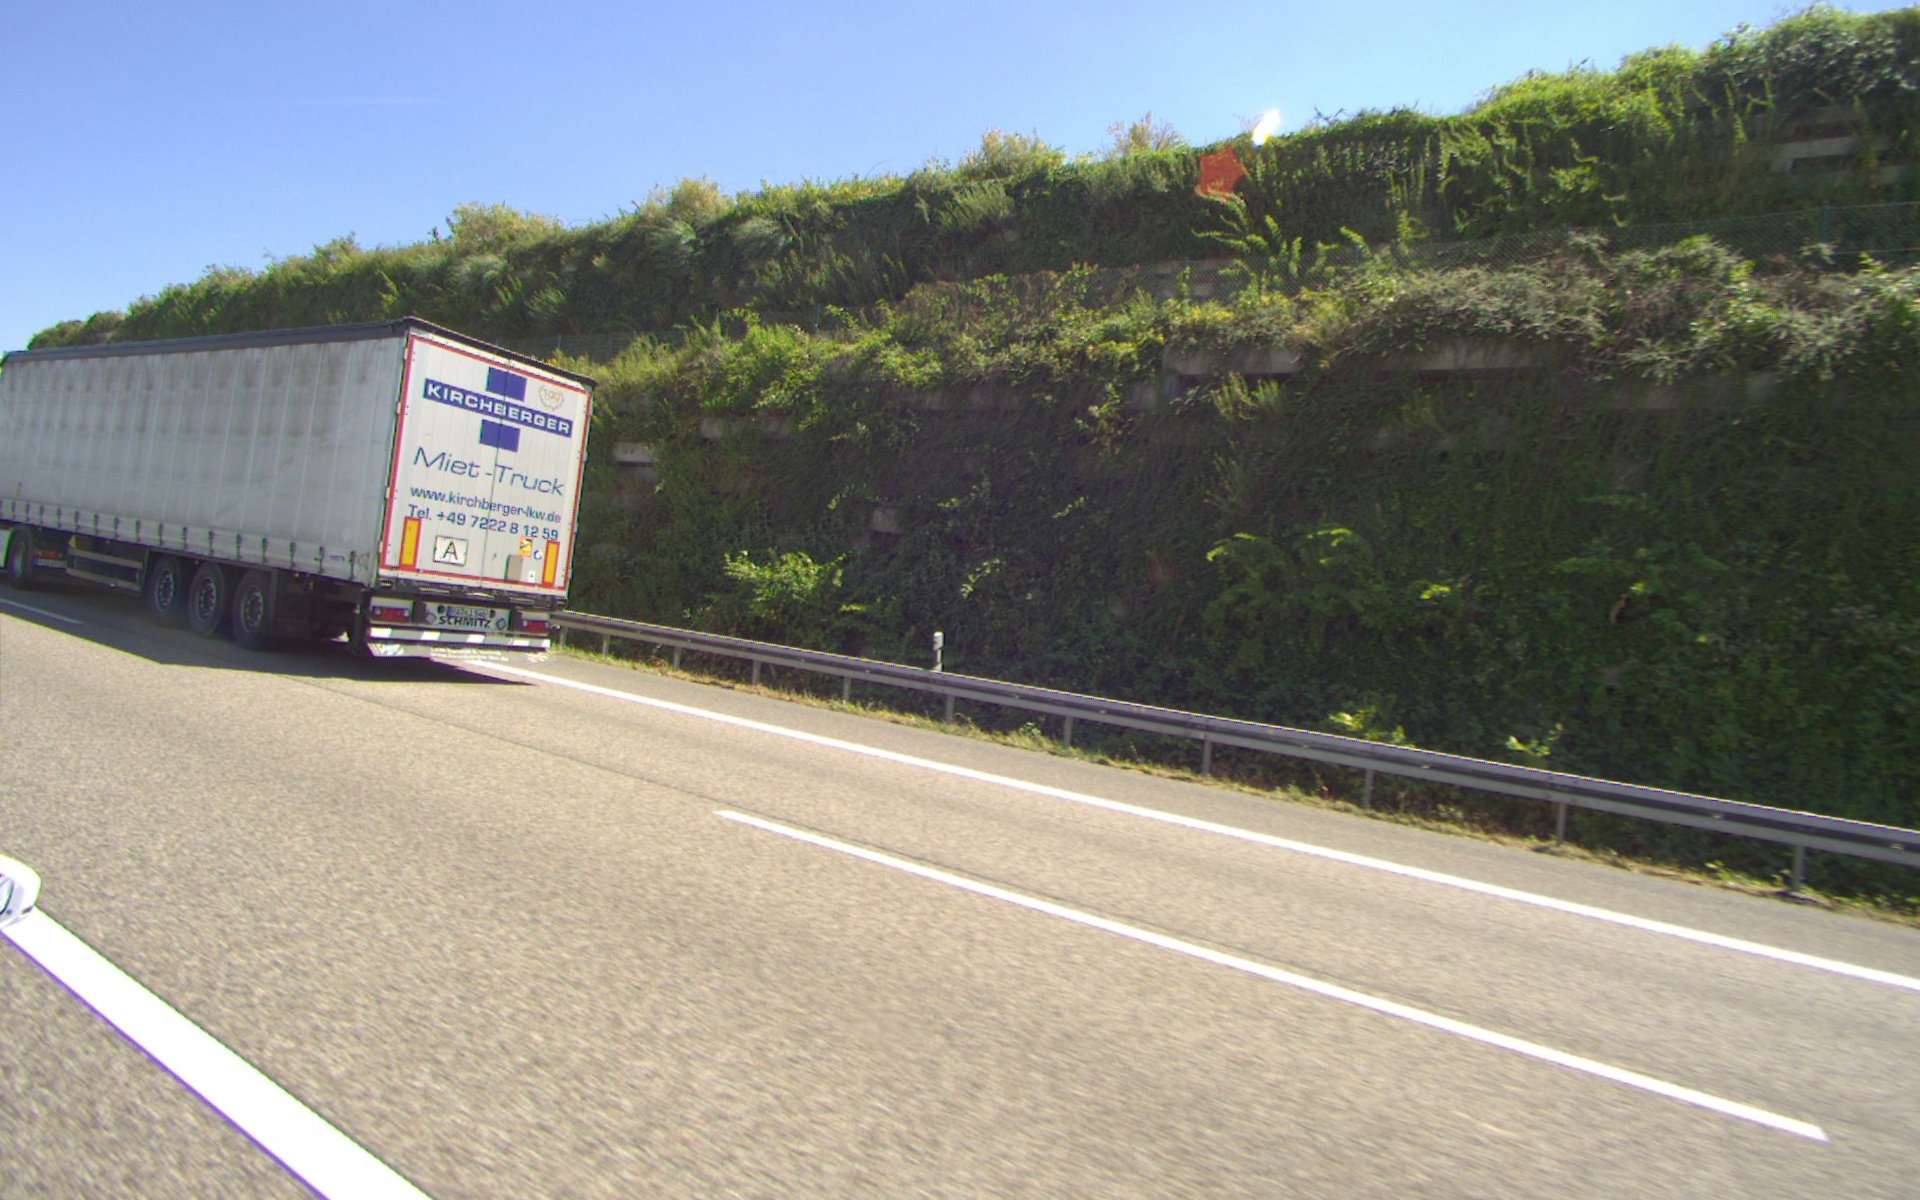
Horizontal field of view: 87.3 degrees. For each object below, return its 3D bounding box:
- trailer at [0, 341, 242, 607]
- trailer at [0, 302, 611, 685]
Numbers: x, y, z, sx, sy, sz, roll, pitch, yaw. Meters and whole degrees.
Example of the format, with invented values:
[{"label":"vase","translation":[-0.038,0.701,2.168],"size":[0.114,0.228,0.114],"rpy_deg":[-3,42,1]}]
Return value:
[{"label":"trailer","translation":[-17.110,-2.368,19.331],"size":[6.676,4.152,2.717],"rpy_deg":[7,0,32]},{"label":"trailer","translation":[-11.007,-1.673,15.515],"size":[12.971,4.152,2.732],"rpy_deg":[6,0,32]}]
